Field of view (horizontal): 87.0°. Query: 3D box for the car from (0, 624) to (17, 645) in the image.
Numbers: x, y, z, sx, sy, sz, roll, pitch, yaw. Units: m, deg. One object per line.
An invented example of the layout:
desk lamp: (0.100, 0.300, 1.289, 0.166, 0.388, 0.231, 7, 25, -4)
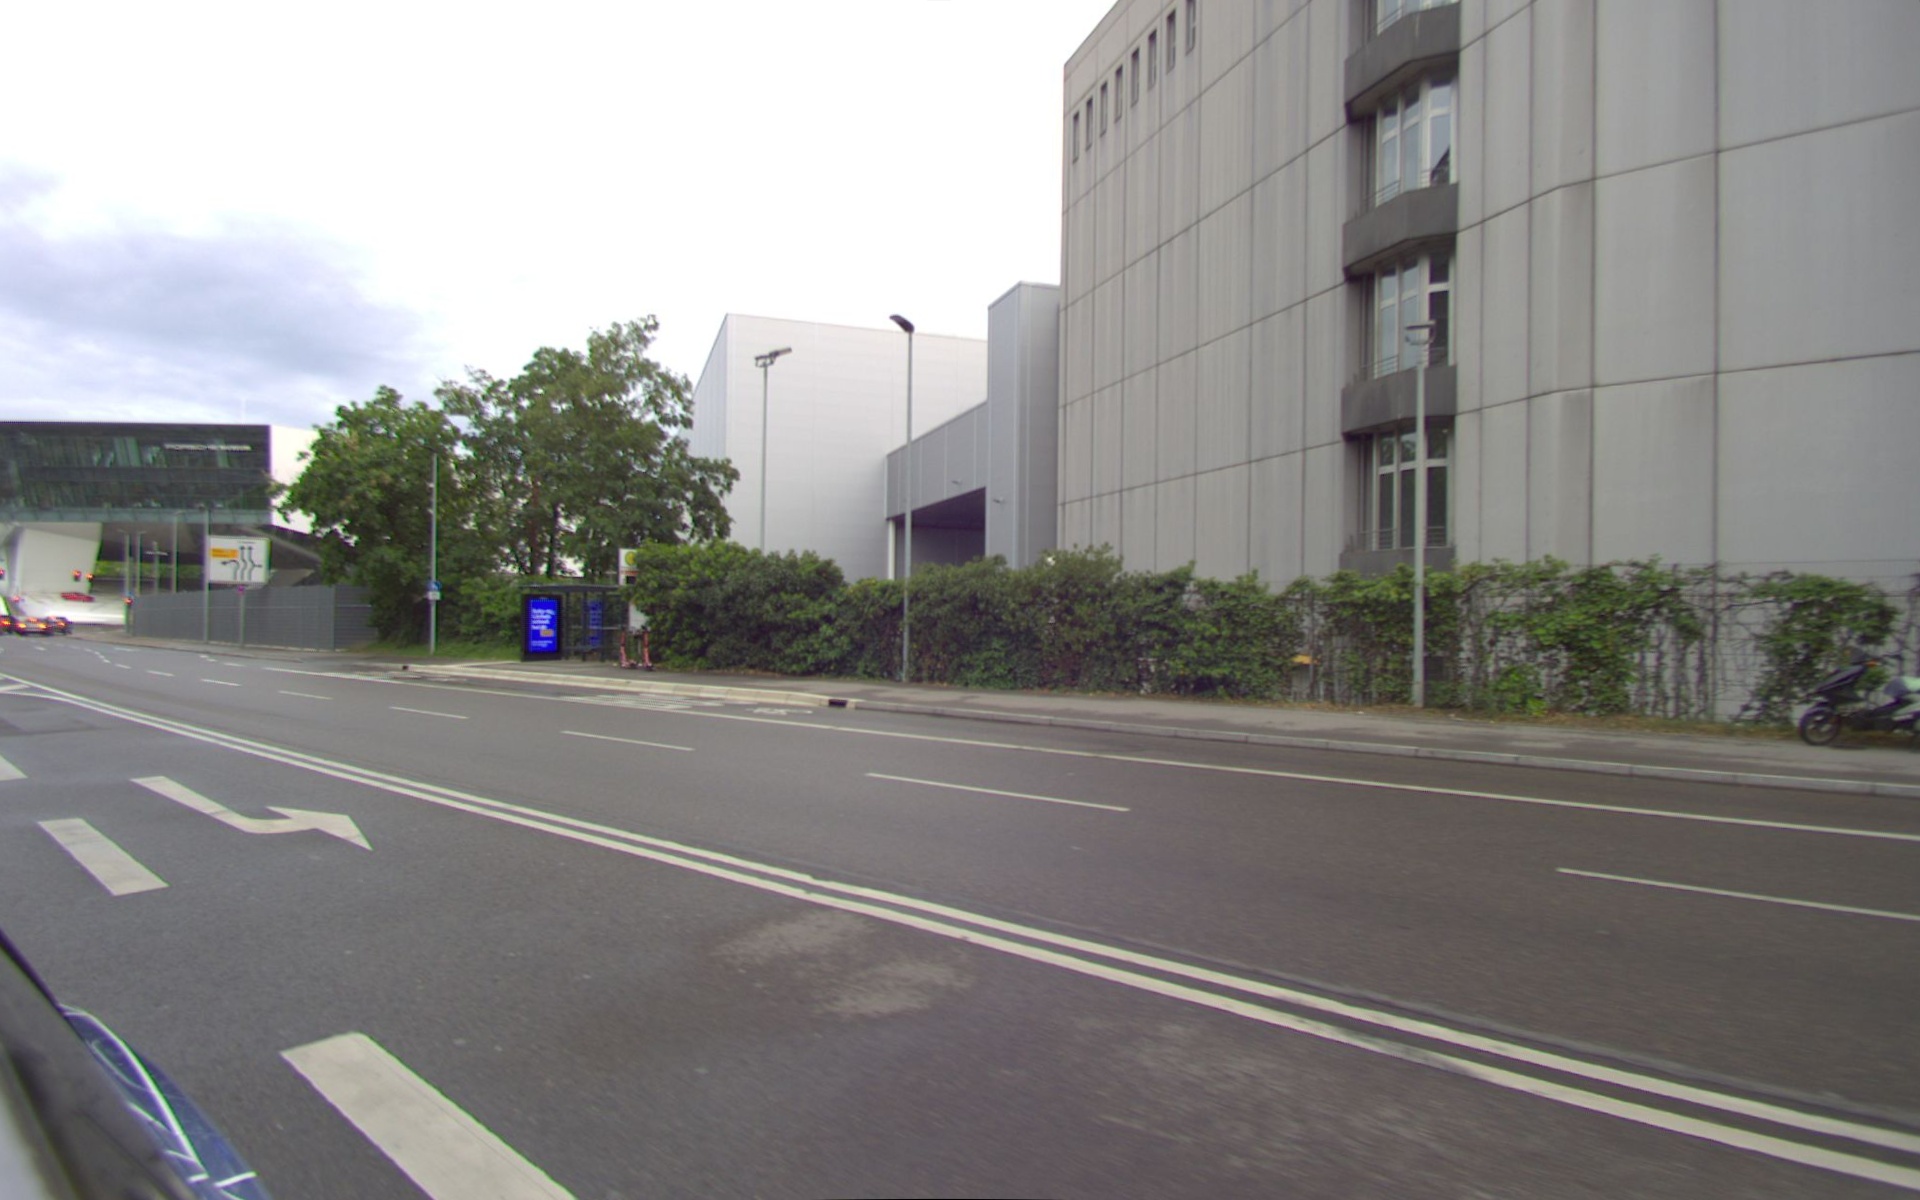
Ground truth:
car: (-79.966, 2.849, 83.969, 1.850, 1.663, 3.863, 1, -2, -33)

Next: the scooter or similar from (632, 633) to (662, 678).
scooter or similar: (-8.641, 1.524, 27.913, 0.373, 1.190, 1.381, 1, -2, -36)

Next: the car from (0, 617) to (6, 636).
car: (-76.982, 2.086, 79.497, 2.221, 1.488, 3.890, 1, -2, -32)

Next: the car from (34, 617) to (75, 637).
car: (-77.544, 2.282, 86.680, 1.834, 1.663, 3.799, 1, -2, -30)

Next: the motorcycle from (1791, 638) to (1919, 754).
motorcycle: (10.812, 1.078, 11.440, 2.156, 1.260, 0.776, -1, -2, 41)

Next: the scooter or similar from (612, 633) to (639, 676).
scooter or similar: (-9.576, 1.560, 28.974, 0.383, 1.189, 1.253, 1, -2, -36)

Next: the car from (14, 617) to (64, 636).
car: (-73.460, 2.121, 80.783, 2.233, 1.488, 4.059, 1, -2, -32)
